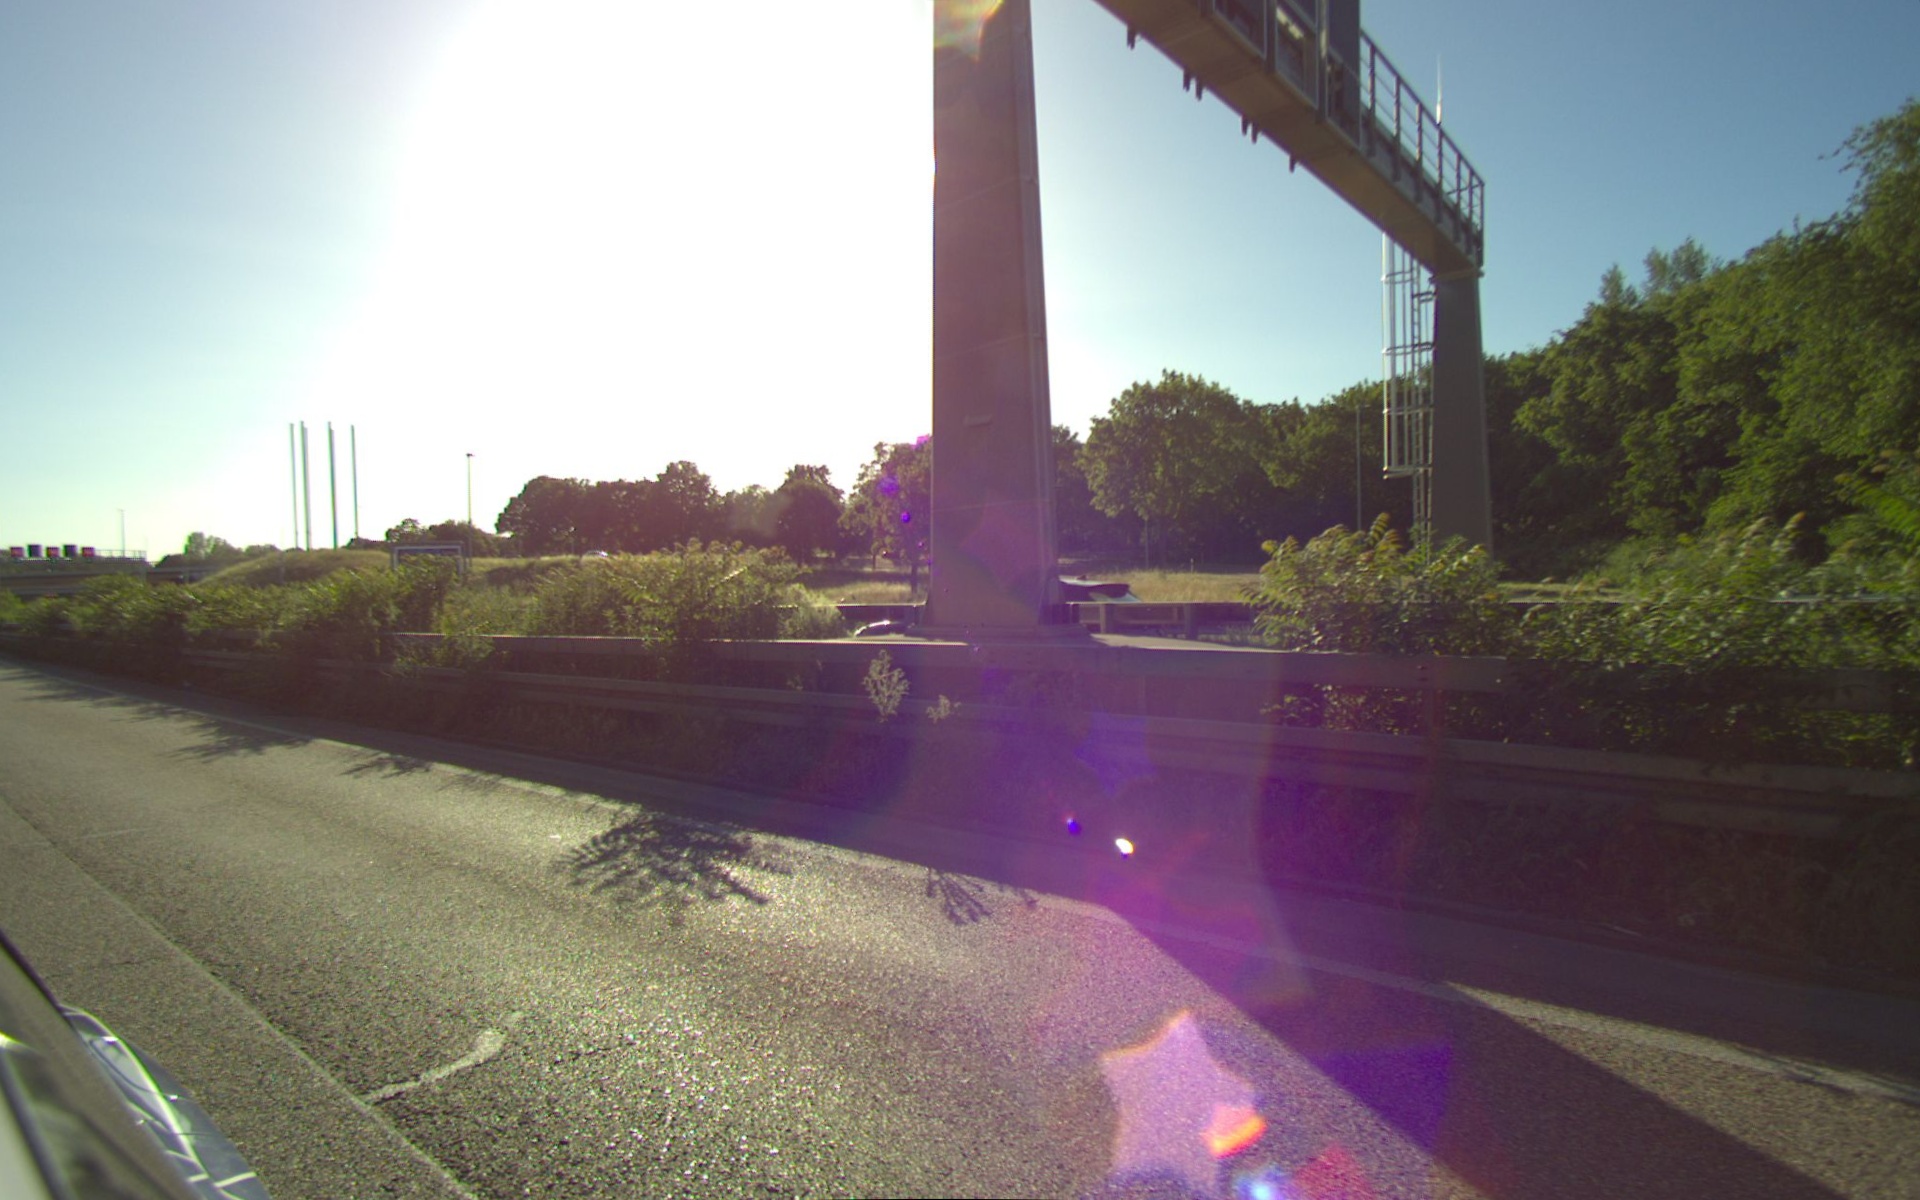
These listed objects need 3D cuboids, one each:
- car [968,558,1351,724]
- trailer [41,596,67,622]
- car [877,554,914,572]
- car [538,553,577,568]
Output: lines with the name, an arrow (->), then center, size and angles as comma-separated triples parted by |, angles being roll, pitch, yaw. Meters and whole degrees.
car -> 2.181, 0.403, 11.651 | 3.995, 1.601, 1.664 | -1, 1, 39
trailer -> -150.975, 1.581, 168.628 | 10.704, 4.154, 2.619 | -2, 0, 45
car -> -8.438, -4.811, 131.928 | 4.939, 2.029, 1.971 | -1, 0, 44
car -> -64.575, -6.336, 162.341 | 6.065, 2.029, 2.526 | -1, -1, 27
